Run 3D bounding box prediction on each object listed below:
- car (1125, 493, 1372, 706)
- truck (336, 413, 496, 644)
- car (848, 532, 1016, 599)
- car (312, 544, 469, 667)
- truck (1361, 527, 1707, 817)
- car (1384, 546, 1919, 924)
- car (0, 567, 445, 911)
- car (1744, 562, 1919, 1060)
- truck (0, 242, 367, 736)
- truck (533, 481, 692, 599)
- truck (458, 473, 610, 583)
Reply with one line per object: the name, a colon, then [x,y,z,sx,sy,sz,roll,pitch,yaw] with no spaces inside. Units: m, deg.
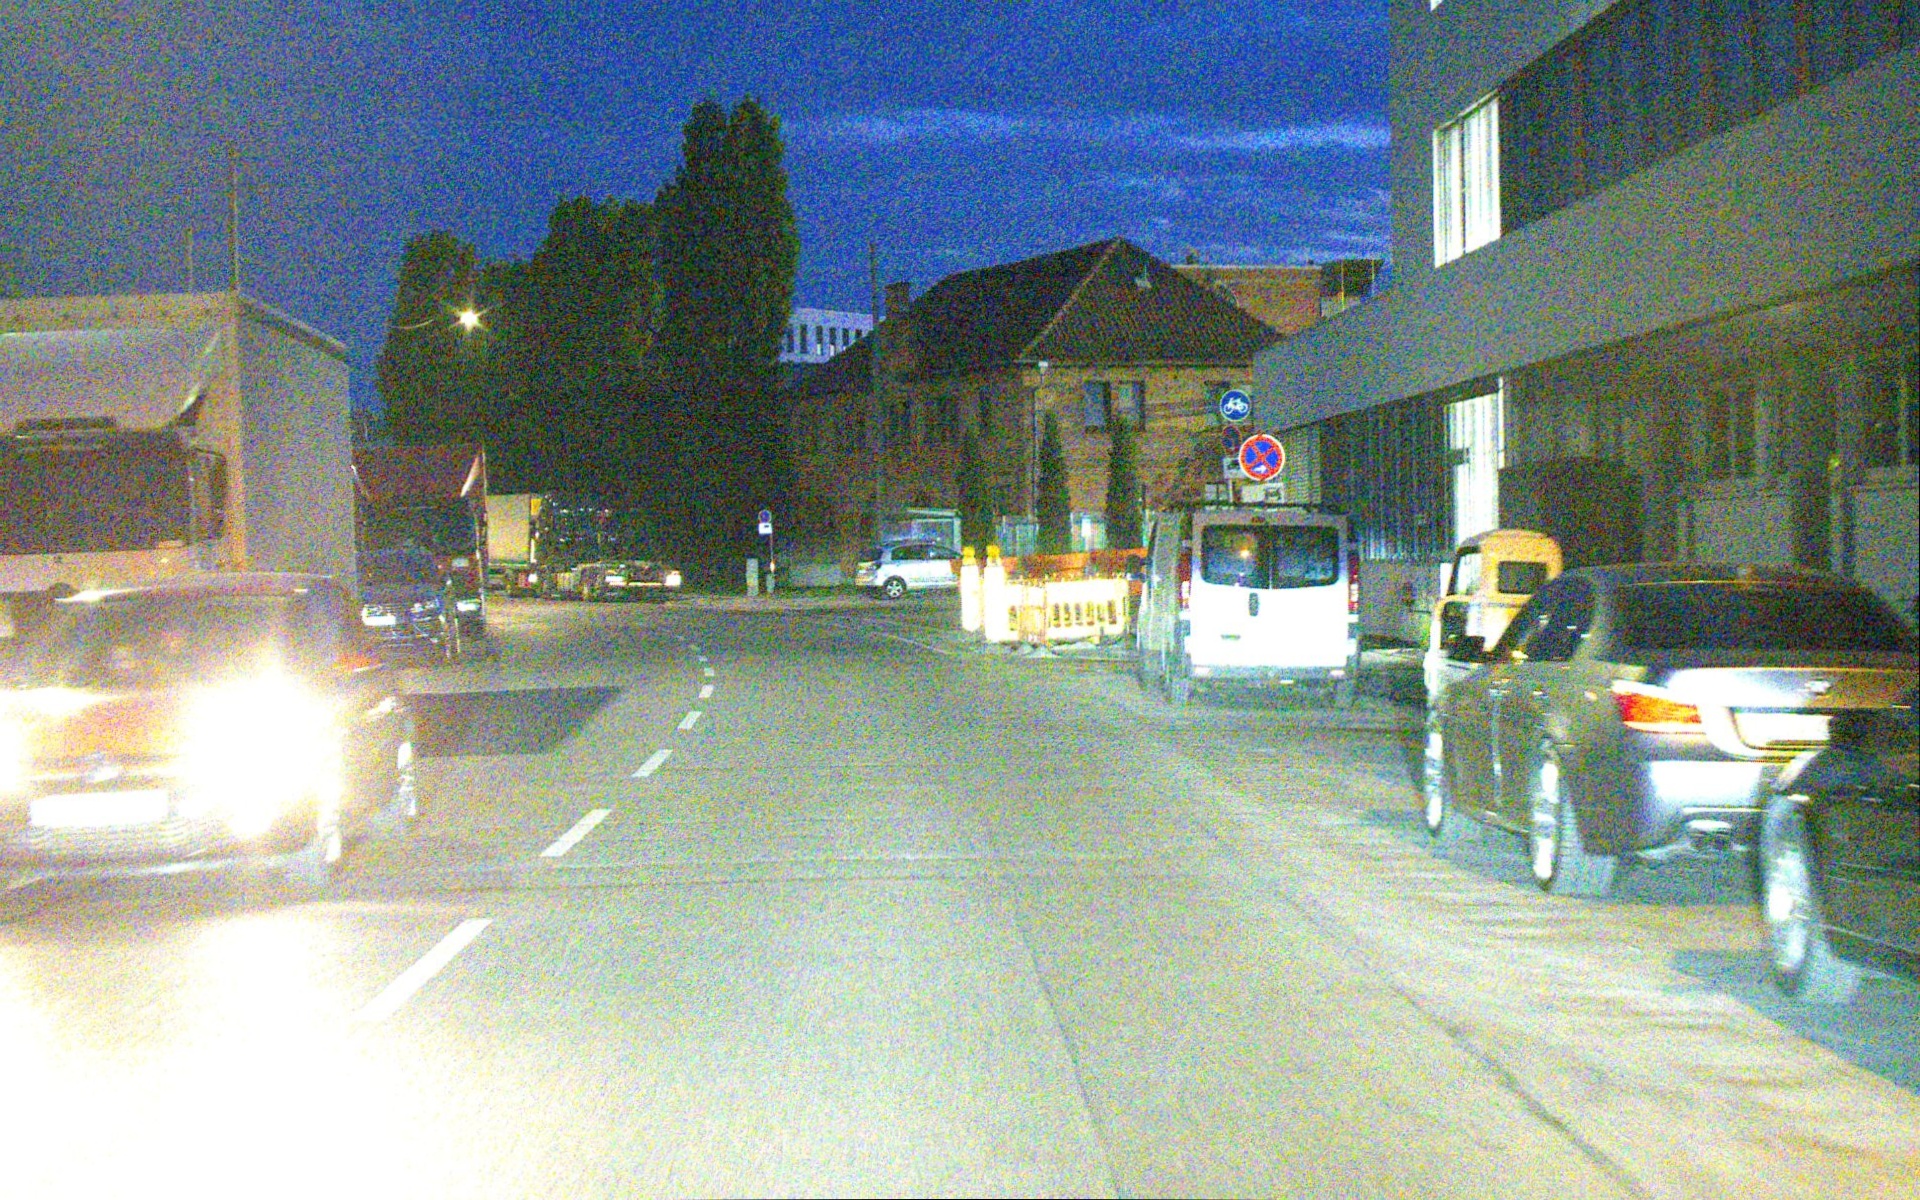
car: [2.896,-0.041,35.526,1.993,2.007,4.912,-1,1,-1]
truck: [-10.451,-1.344,66.386,2.772,4.106,9.343,-1,1,-8]
car: [-0.799,-0.993,97.913,4.325,1.640,1.893,-4,2,-23]
car: [-8.490,0.044,51.649,1.943,1.711,5.199,-1,1,-5]
truck: [3.499,0.388,21.521,1.370,1.639,3.813,-1,1,-2]
car: [3.320,0.503,16.314,1.946,1.484,5.011,-1,1,0]
car: [-3.702,0.586,16.794,1.857,1.415,4.000,-2,1,-2]
car: [3.645,0.610,9.992,1.769,1.407,4.550,-1,1,1]
truck: [-7.630,-0.974,32.838,2.746,4.020,9.561,0,1,-3]
truck: [-11.662,-1.959,114.577,2.754,3.770,9.139,-1,1,-22]
truck: [-15.485,-2.533,124.177,2.754,3.770,10.228,-1,1,-22]
